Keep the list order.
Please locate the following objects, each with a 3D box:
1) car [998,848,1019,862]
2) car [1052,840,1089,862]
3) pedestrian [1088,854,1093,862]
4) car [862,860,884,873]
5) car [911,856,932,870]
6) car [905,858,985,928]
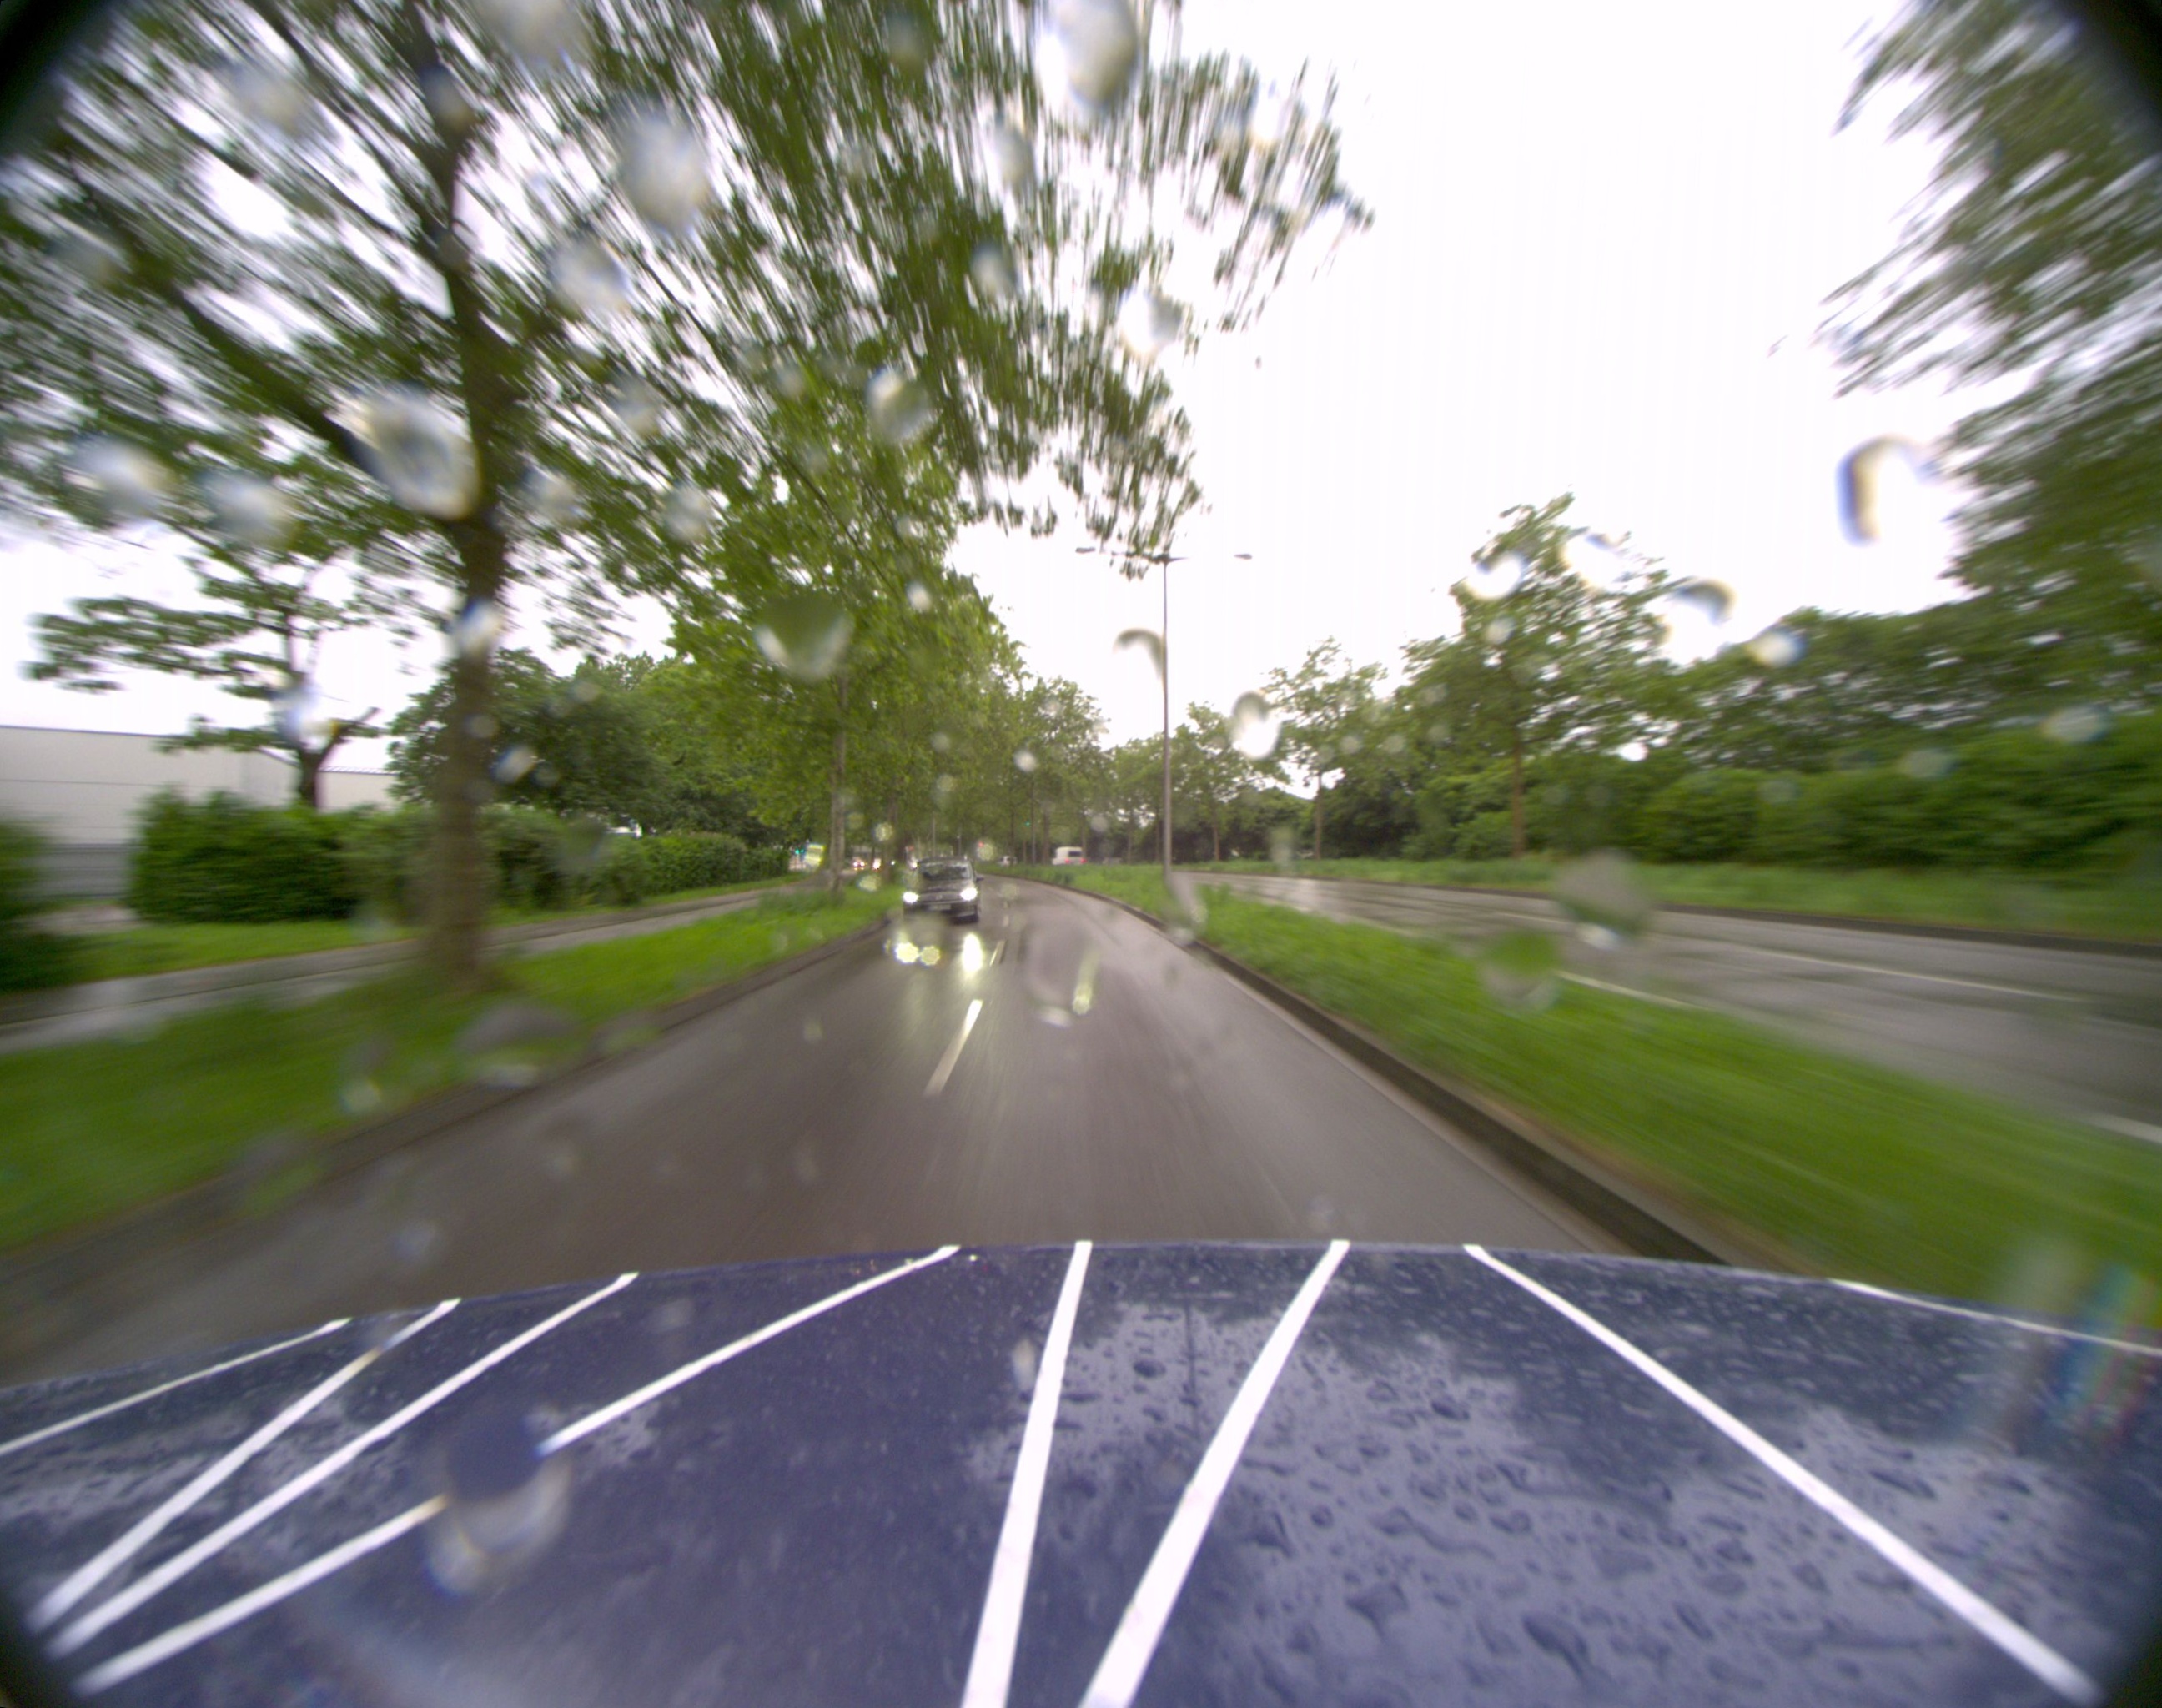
[{"bbox_3d":[-10.462,0.181,109.252,1.942,1.929,5.189,-1,0,-19],"label":"car"},{"bbox_3d":[-1.235,-0.352,85.971,2.288,2.412,6.349,-1,0,-20],"label":"car"},{"bbox_3d":[1.280,0.569,100.467,0.476,1.034,0.441,-1,0,-15],"label":"pedestrian"},{"bbox_3d":[-25.528,1.520,93.292,1.788,1.546,3.992,-1,0,-27],"label":"car"},{"bbox_3d":[-18.583,1.028,88.461,1.787,1.546,3.993,-1,0,-22],"label":"car"},{"bbox_3d":[-3.518,0.920,19.641,1.785,1.546,3.996,-2,0,-11],"label":"car"}]
